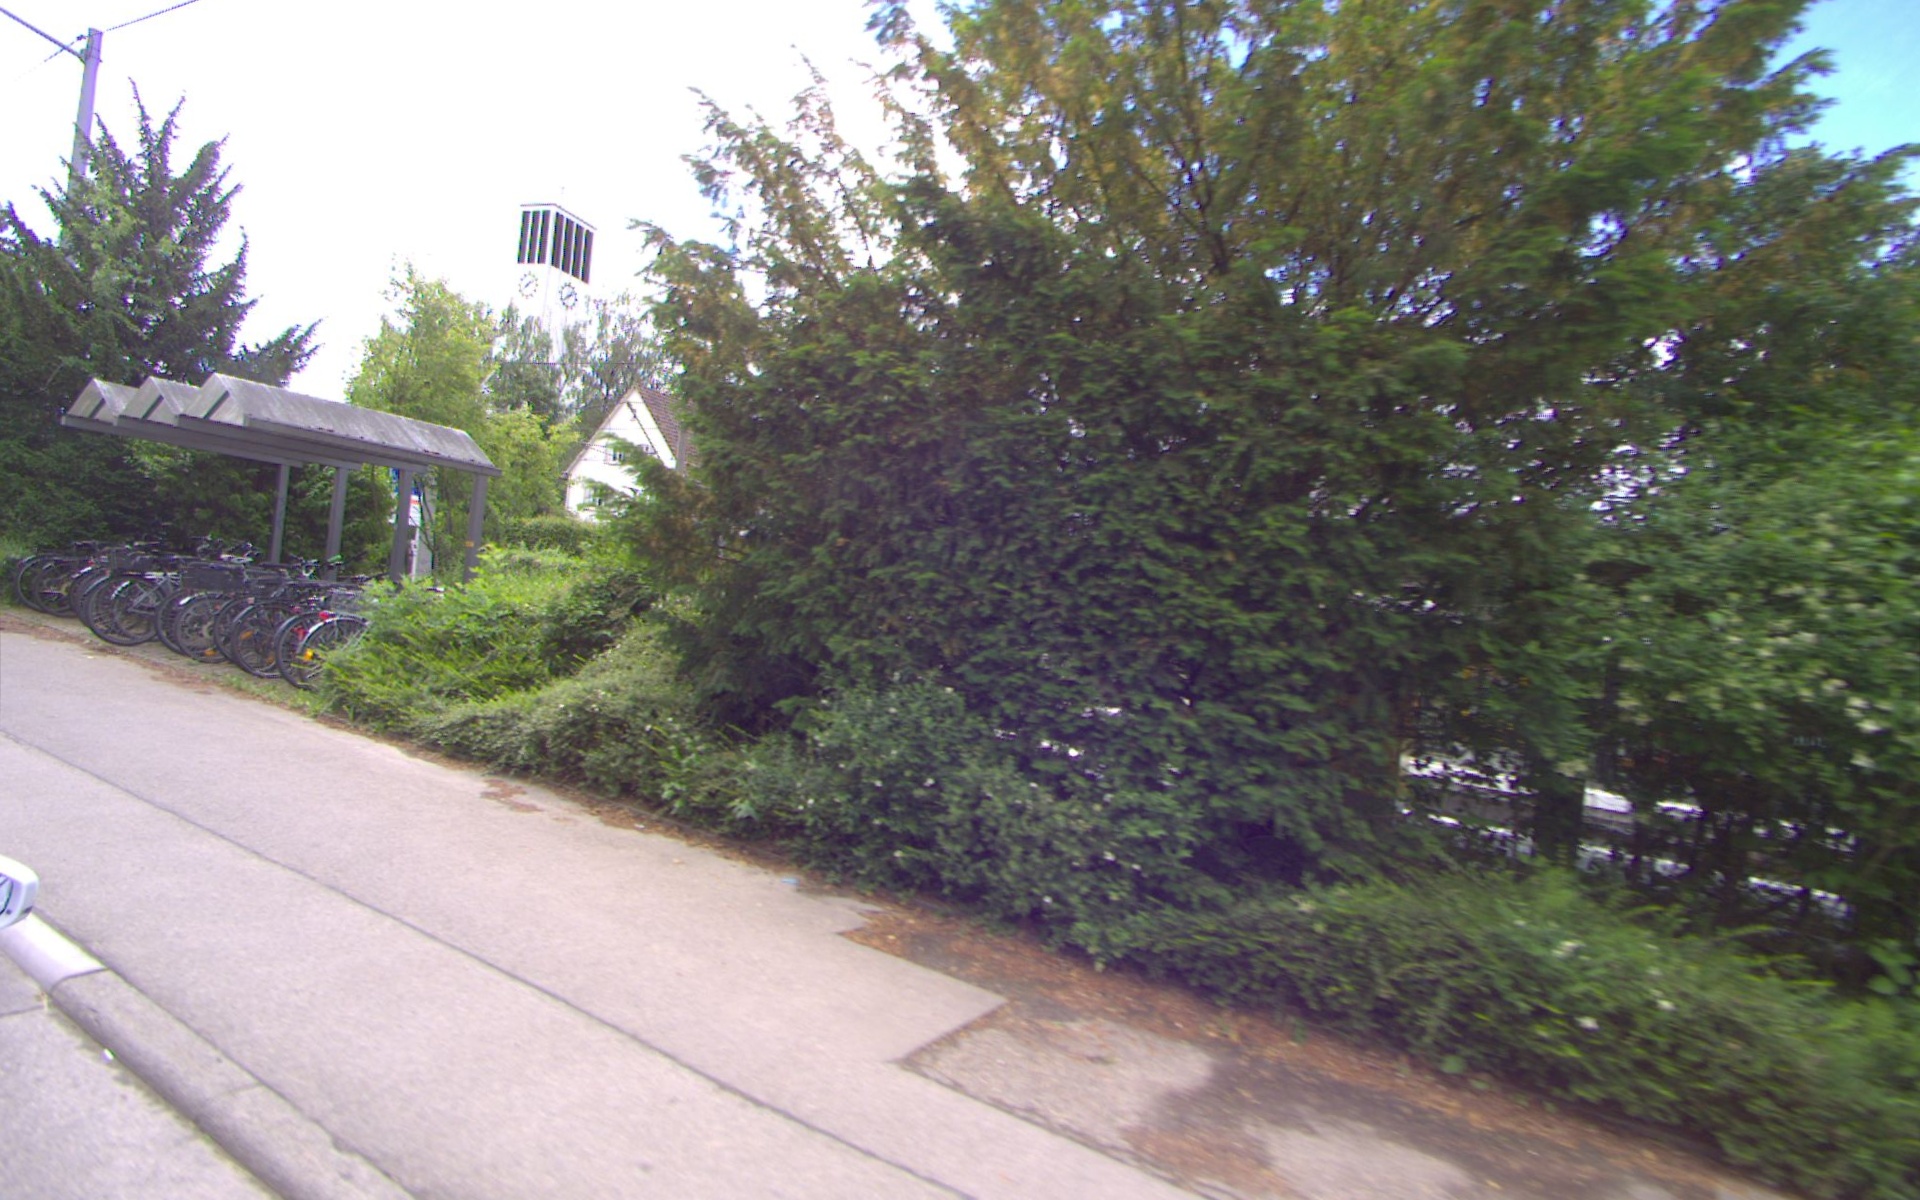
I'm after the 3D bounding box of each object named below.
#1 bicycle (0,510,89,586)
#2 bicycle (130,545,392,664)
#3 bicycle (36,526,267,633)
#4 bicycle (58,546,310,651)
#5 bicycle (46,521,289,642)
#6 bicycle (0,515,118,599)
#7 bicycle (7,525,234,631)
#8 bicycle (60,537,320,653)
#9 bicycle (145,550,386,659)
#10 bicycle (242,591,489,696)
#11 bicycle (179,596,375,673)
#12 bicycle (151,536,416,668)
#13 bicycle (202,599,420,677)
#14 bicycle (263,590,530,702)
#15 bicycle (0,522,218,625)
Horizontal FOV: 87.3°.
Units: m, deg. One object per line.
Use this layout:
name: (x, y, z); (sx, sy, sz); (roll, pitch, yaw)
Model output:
bicycle: (-15.137, -0.870, 15.792); (0.538, 1.094, 2.090); (7, 0, 32)
bicycle: (-7.343, 0.094, 10.706); (0.444, 1.060, 2.201); (7, -1, 35)
bicycle: (-9.679, -0.223, 12.143); (2.079, 1.060, 0.446); (6, 0, -40)
bicycle: (-8.664, 0.026, 11.382); (0.443, 0.949, 2.207); (7, -2, 27)
bicycle: (-9.076, -0.162, 11.644); (0.521, 1.164, 2.094); (7, -1, 27)
bicycle: (-14.021, -0.686, 14.986); (0.550, 1.059, 2.093); (7, -3, 32)
bicycle: (-10.455, -0.234, 12.638); (0.443, 1.059, 2.094); (7, -2, 27)
bicycle: (-8.314, -0.001, 11.014); (0.443, 1.060, 2.205); (7, -1, 28)
bicycle: (-7.578, 0.069, 11.126); (0.443, 1.061, 2.202); (7, 2, 28)
bicycle: (-5.548, 0.455, 9.549); (0.444, 0.836, 1.994); (7, -2, 30)
bicycle: (-6.666, 0.365, 9.920); (0.326, 0.646, 1.684); (7, -2, 19)
bicycle: (-6.966, 0.071, 10.513); (0.444, 1.163, 2.201); (7, -1, 35)
bicycle: (-6.334, 0.412, 9.974); (0.326, 0.646, 1.990); (7, -2, 19)
bicycle: (-5.064, 0.458, 9.210); (0.444, 0.836, 2.079); (7, -2, 35)
bicycle: (-10.899, -0.299, 12.954); (0.443, 1.059, 2.094); (7, -2, 27)
